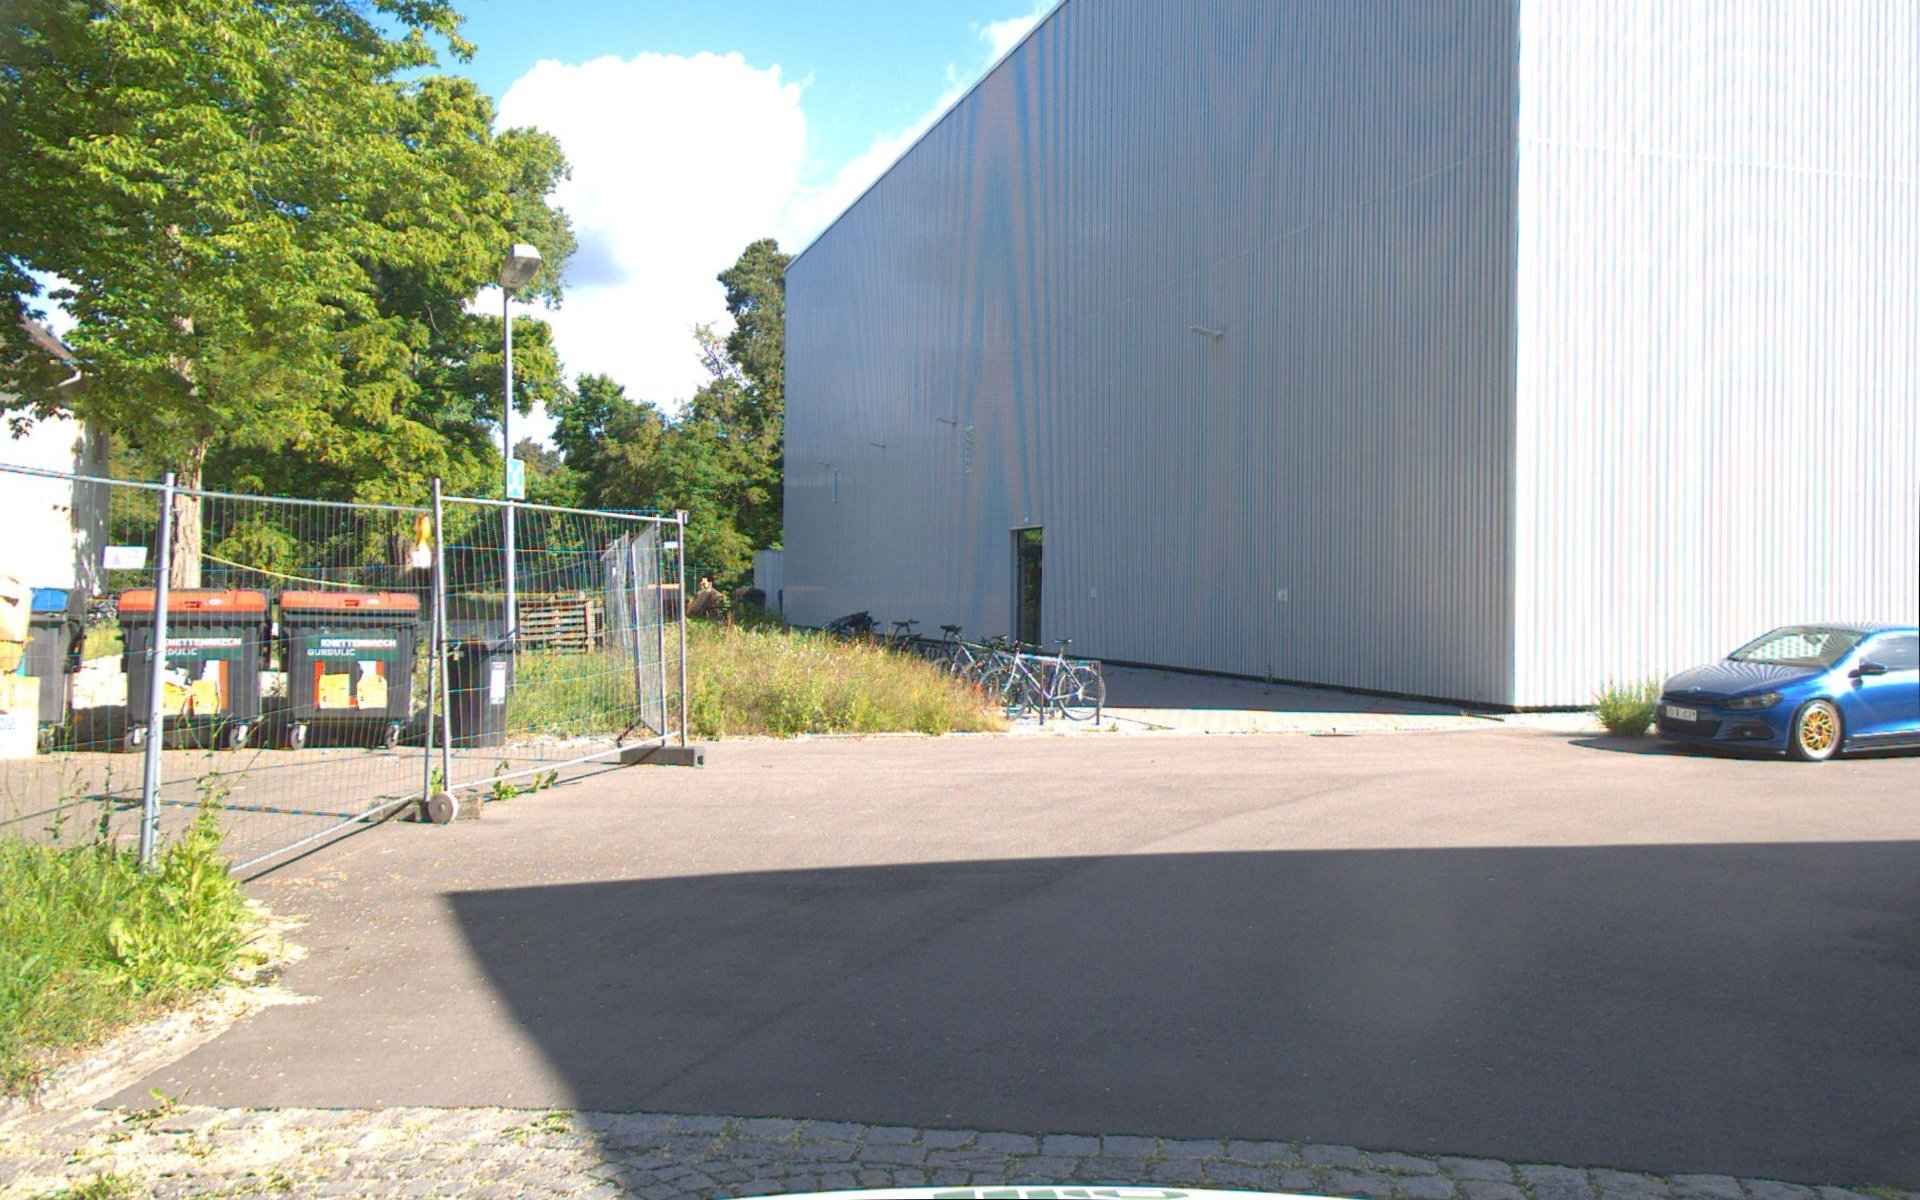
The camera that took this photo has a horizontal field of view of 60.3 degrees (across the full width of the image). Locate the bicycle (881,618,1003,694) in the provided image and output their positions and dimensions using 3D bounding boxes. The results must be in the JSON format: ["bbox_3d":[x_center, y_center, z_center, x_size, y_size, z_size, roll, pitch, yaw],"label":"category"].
[{"bbox_3d":[-0.276,0.854,25.569,1.855,1.145,0.431,0,0,-19],"label":"bicycle"}]

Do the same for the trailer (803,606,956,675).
[{"bbox_3d":[-1.519,0.738,31.058,2.669,1.221,1.239,0,0,-19],"label":"trailer"}]

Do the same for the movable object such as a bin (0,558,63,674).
[{"bbox_3d":[-18.572,0.281,28.937,4.800,2.005,1.921,0,0,-21],"label":"movable object such as a bin"}]

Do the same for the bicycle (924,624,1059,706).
[{"bbox_3d":[0.443,0.896,23.070,1.855,1.101,0.431,0,0,-19],"label":"bicycle"}]

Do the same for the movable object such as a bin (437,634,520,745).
[{"bbox_3d":[-4.616,0.846,15.886,0.628,1.025,0.604,0,0,-3],"label":"movable object such as a bin"}]

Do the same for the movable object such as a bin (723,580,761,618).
[{"bbox_3d":[-9.985,-0.063,75.662,1.341,1.685,2.830,0,0,-15],"label":"movable object such as a bin"}]

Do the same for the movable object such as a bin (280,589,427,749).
[{"bbox_3d":[-5.747,0.619,15.671,1.269,1.451,1.026,0,0,-22],"label":"movable object such as a bin"}]

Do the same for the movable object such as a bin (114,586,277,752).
[{"bbox_3d":[-6.982,0.599,15.185,1.268,1.451,1.026,0,0,-21],"label":"movable object such as a bin"}]

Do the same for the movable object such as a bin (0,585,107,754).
[{"bbox_3d":[-8.375,0.594,14.718,1.268,1.451,1.026,0,0,-21],"label":"movable object such as a bin"}]

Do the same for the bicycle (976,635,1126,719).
[{"bbox_3d":[1.146,0.949,20.663,1.855,0.995,0.431,0,0,-19],"label":"bicycle"}]

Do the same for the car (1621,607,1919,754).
[{"bbox_3d":[9.340,0.816,17.701,4.092,1.408,1.745,1,0,-19],"label":"car"}]

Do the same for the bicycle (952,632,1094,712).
[{"bbox_3d":[0.835,0.933,21.769,1.855,0.995,0.431,0,0,-19],"label":"bicycle"}]
